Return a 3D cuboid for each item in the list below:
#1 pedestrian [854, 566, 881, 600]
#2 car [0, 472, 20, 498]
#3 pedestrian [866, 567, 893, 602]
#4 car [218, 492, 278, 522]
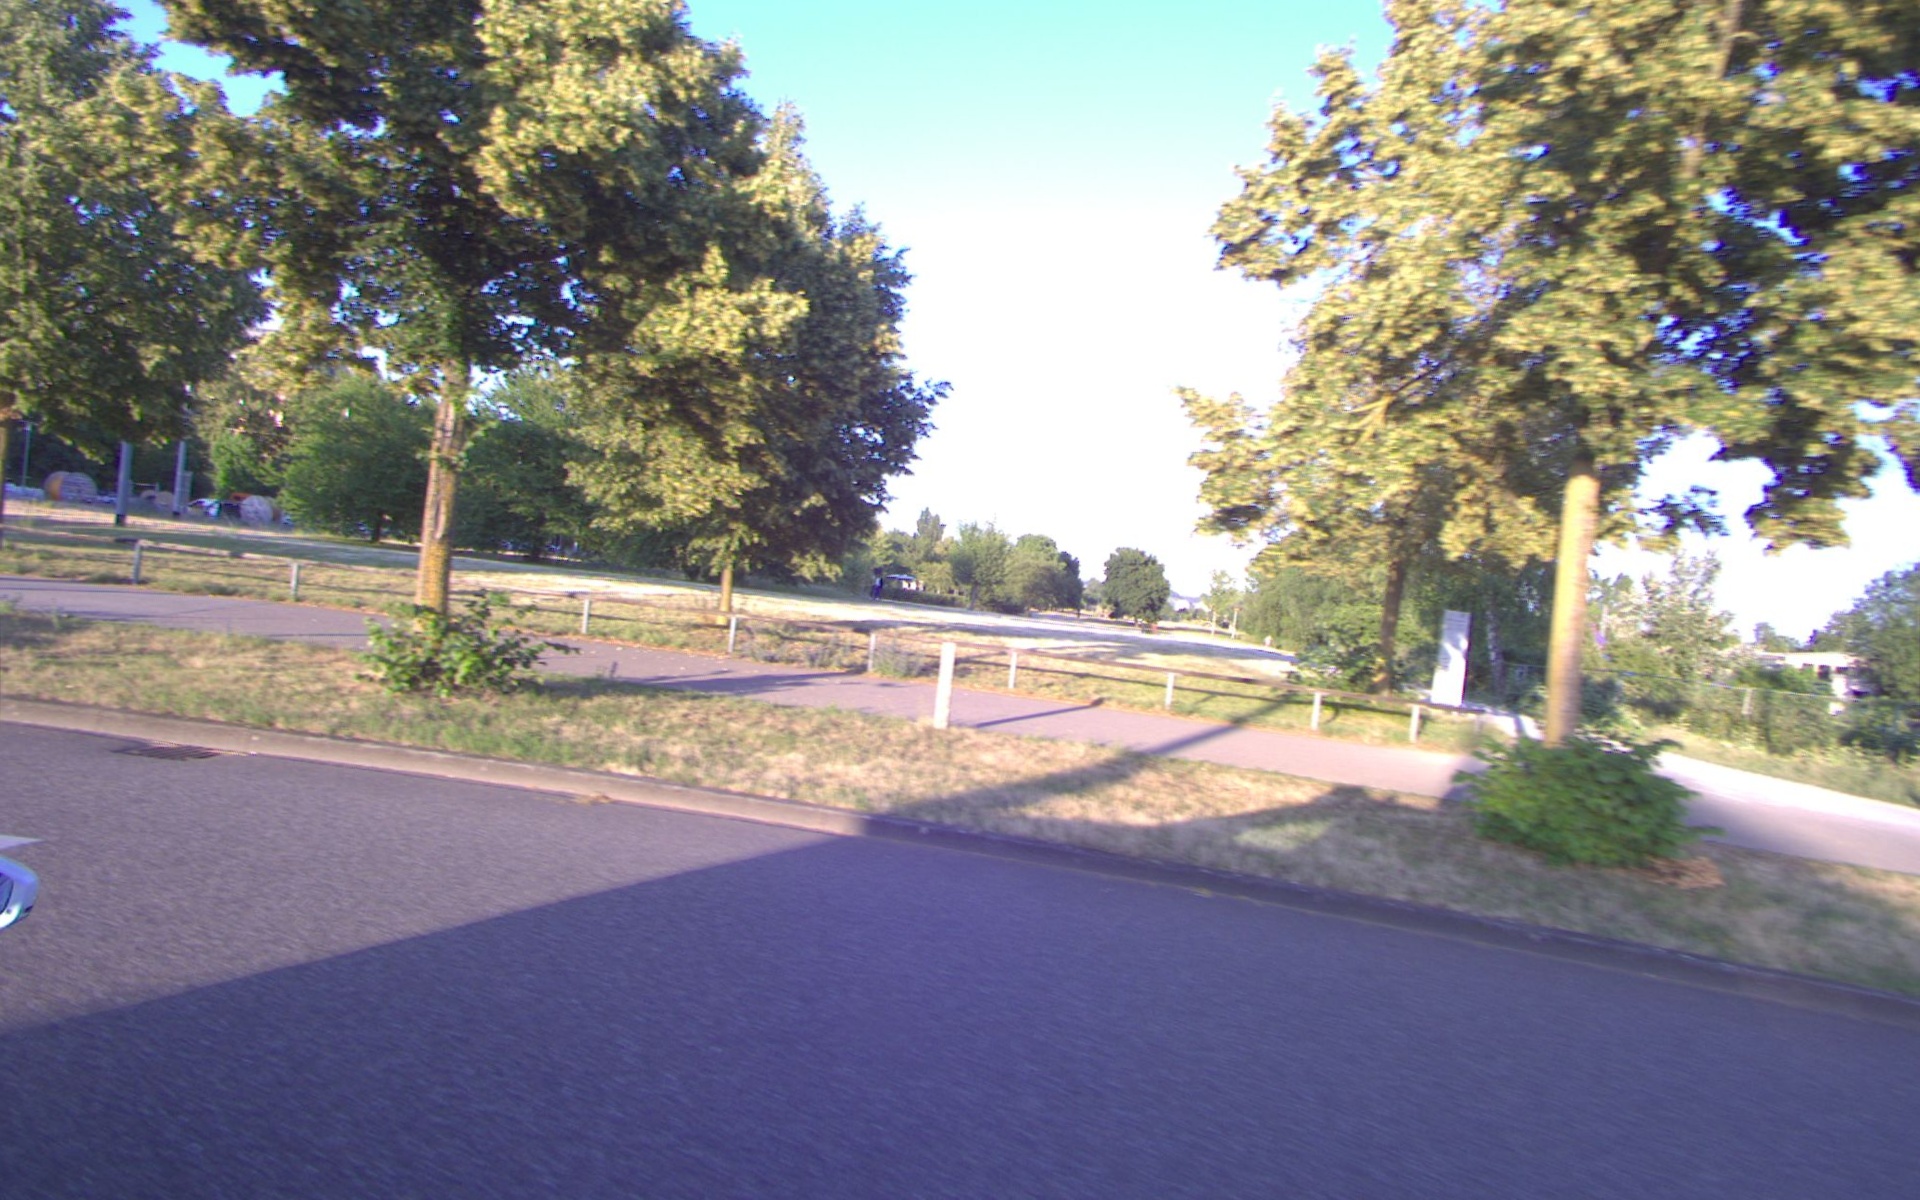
[{"bbox_3d":[-5.466,-1.007,59.515,0.895,1.887,1.103,8,1,28],"label":"pedestrian"},{"bbox_3d":[-65.717,-7.939,67.121,3.928,1.573,1.901,7,1,-4],"label":"car"},{"bbox_3d":[-4.684,-0.876,58.505,0.895,1.887,1.103,8,1,28],"label":"pedestrian"},{"bbox_3d":[-65.259,-8.528,92.233,3.928,2.122,1.901,7,1,-4],"label":"car"}]
